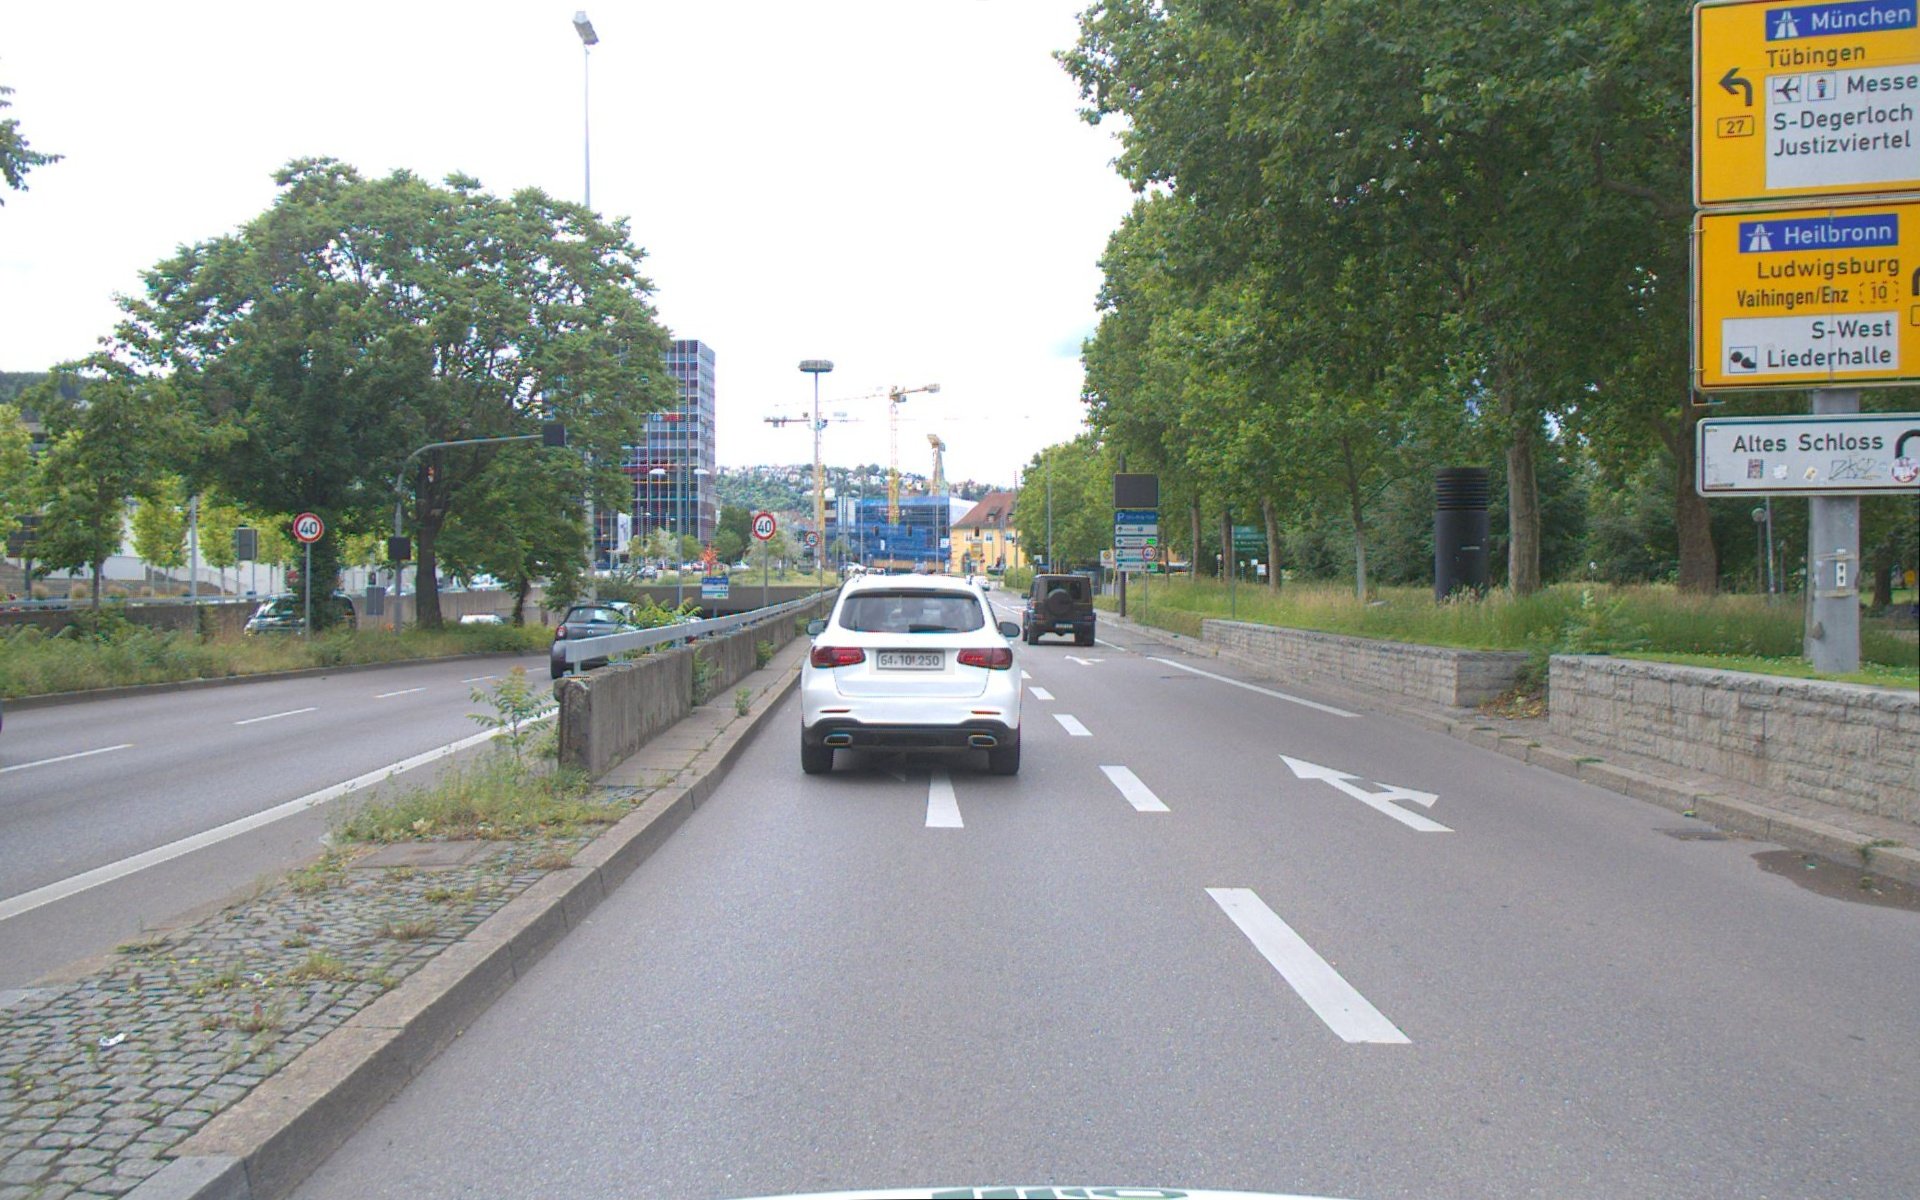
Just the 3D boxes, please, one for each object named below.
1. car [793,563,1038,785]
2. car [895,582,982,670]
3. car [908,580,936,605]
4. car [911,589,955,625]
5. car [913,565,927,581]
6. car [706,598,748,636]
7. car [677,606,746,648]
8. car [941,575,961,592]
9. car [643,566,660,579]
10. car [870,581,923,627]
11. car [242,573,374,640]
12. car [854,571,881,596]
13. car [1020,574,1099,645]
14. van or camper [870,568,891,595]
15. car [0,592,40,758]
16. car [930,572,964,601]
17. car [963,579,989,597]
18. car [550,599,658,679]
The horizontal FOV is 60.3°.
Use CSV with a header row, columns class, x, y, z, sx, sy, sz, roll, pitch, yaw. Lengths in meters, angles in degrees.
class,x,y,z,sx,sy,sz,roll,pitch,yaw
car,-0.460,0.585,14.906,1.902,1.713,3.997,0,0,-3
car,-0.487,0.536,34.393,1.639,1.656,3.998,2,-1,-2
car,-2.904,-0.536,127.149,1.954,1.812,3.997,2,-1,-3
car,-1.297,0.323,78.197,1.884,1.630,3.998,1,0,-3
car,-5.577,-3.673,228.239,1.764,2.049,3.997,2,-1,-3
car,-11.340,0.791,80.672,1.685,1.708,3.996,2,0,-4
car,-8.435,0.892,56.365,1.684,1.315,4.000,2,0,0
car,-0.912,-1.595,162.901,1.685,1.612,3.996,2,0,-4
car,-37.638,-3.356,201.583,1.798,1.384,3.861,2,-1,-8
car,-2.382,0.117,61.297,1.884,1.630,3.998,1,0,-3
car,-17.964,0.165,45.791,1.819,1.747,4.446,-1,0,0
car,-7.295,-1.311,131.074,1.953,1.787,3.999,2,-1,-1
car,2.891,0.290,48.938,1.937,1.926,4.706,2,-1,0
van or camper,-7.459,-1.695,155.176,1.884,2.360,3.997,1,-1,-3
car,-9.383,0.631,12.889,1.775,1.486,4.861,2,-1,-2
car,-0.864,-0.850,106.195,1.954,1.691,3.997,2,-1,-3
car,1.562,-1.183,163.356,1.956,1.646,3.993,2,-1,-7
car,-7.307,0.784,34.216,1.595,1.535,3.538,1,-1,-3
